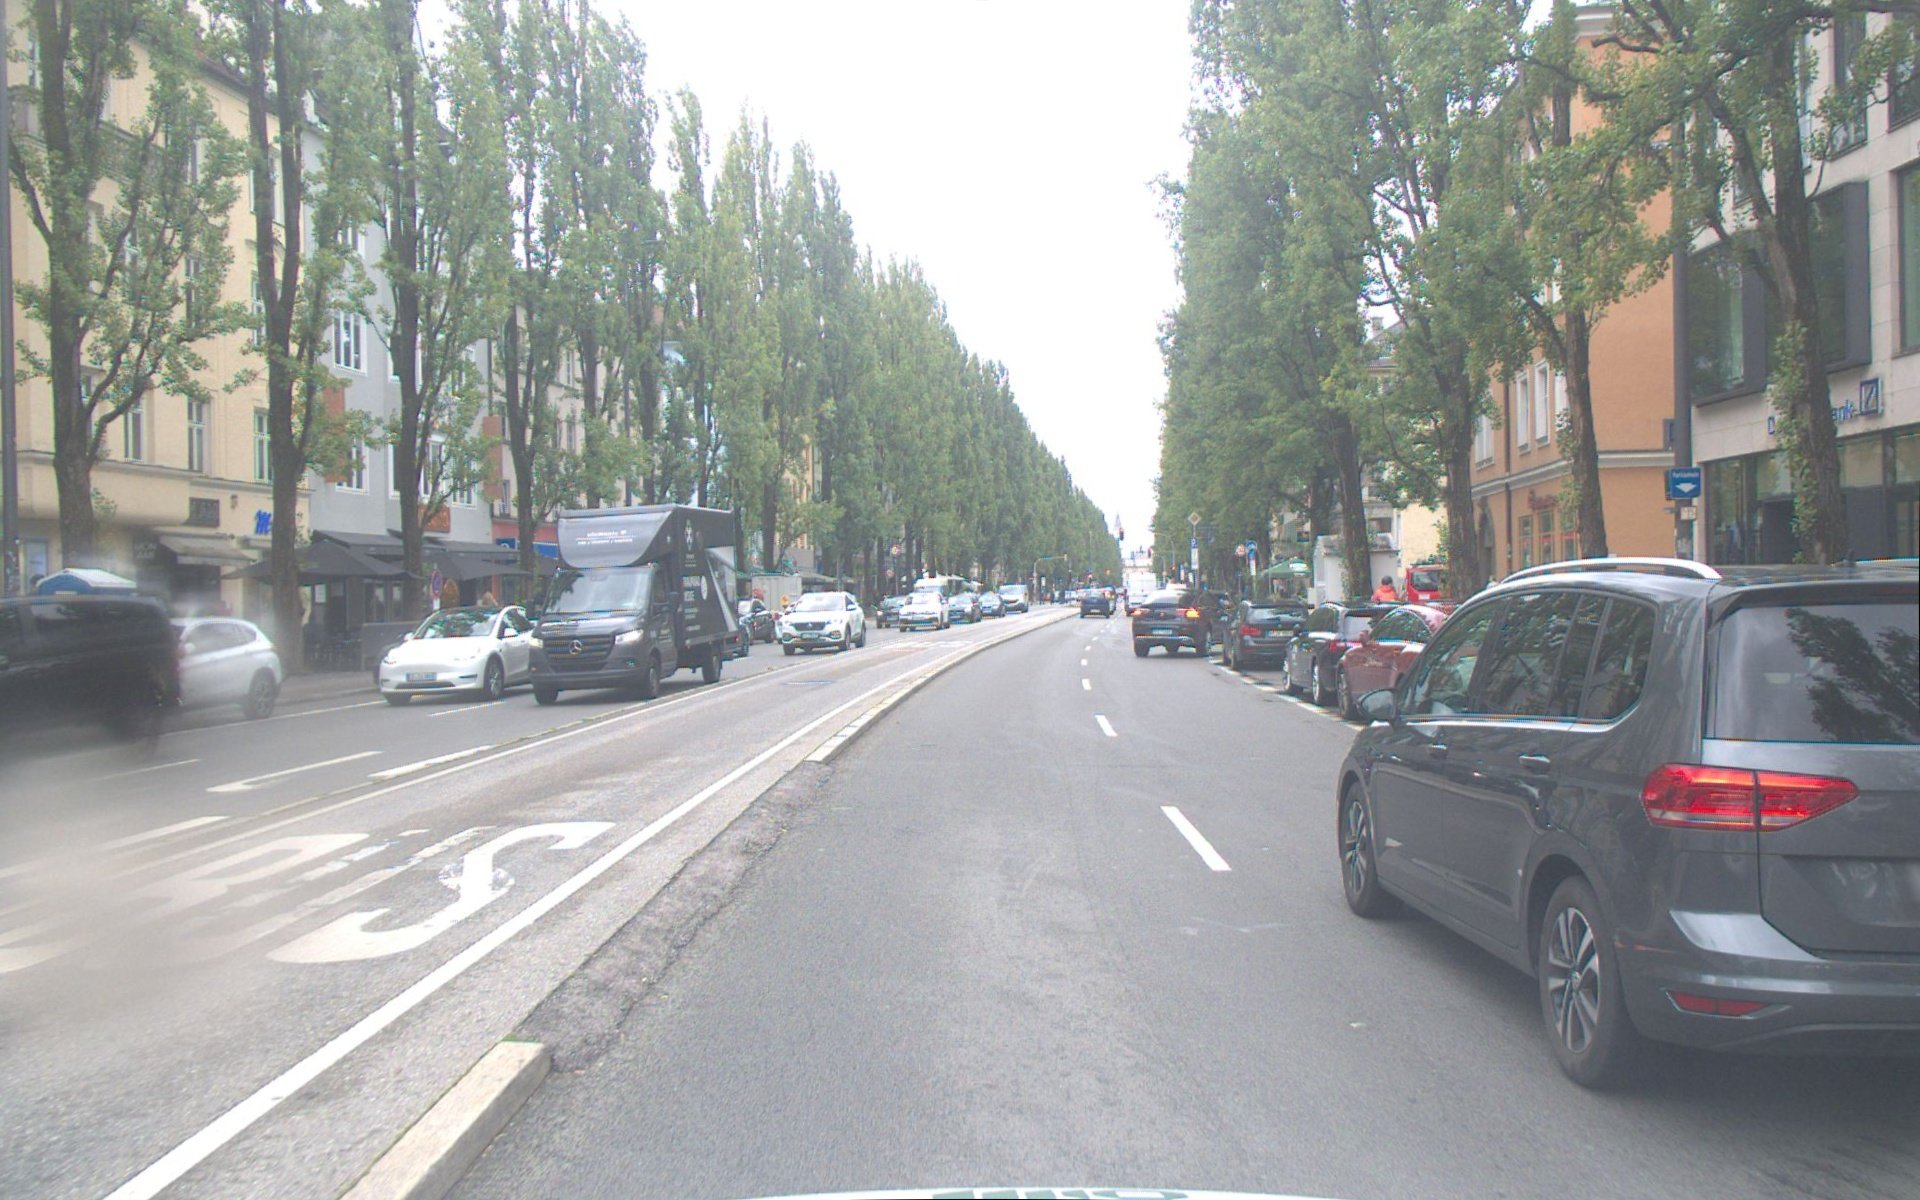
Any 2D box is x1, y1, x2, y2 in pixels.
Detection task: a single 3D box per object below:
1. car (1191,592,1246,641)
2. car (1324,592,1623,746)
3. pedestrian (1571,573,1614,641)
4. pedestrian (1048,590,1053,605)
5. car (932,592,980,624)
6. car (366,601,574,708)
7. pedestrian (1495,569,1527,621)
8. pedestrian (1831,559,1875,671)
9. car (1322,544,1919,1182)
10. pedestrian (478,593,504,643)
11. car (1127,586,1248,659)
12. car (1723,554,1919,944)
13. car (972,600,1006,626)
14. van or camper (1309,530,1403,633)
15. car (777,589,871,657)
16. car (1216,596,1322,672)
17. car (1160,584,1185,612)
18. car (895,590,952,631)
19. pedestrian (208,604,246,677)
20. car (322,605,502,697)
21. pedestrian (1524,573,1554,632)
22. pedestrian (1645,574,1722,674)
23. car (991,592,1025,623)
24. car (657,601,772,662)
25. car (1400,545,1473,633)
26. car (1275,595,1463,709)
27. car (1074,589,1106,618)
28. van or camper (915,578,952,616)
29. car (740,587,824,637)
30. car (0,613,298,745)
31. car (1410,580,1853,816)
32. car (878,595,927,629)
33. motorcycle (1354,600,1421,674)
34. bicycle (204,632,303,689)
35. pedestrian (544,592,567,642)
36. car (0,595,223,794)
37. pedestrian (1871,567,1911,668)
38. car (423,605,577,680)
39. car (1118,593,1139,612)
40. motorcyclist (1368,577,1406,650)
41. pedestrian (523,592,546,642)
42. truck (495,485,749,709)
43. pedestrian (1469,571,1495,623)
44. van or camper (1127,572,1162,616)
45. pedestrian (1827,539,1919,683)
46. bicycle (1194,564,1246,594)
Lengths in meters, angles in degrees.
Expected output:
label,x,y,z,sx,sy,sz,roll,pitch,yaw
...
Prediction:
label,x,y,z,sx,sy,sz,roll,pitch,yaw
car,8.996,0.555,57.774,1.589,1.592,4.374,-1,0,5
car,5.592,0.671,18.716,1.891,1.475,4.804,-2,0,0
pedestrian,15.249,0.169,39.875,0.596,1.578,0.710,-2,0,-22
pedestrian,10.134,-0.274,184.970,0.541,1.746,0.493,-2,0,7
car,-0.182,0.387,85.094,1.951,1.457,4.775,-2,0,6
car,-8.731,0.909,29.946,1.951,1.680,4.639,-2,0,6
pedestrian,17.757,-0.167,53.340,0.803,1.641,0.780,-2,0,9
pedestrian,13.419,0.223,24.858,0.540,1.666,0.557,-1,0,31
car,2.785,0.670,6.394,1.726,1.642,4.182,0,0,-2
pedestrian,-16.457,0.614,58.042,0.625,1.729,0.648,-1,0,6
car,5.805,0.531,41.786,1.843,1.670,4.581,-1,0,23
car,5.190,0.660,7.020,1.885,1.730,4.651,0,-1,2
car,1.693,0.736,97.045,1.675,1.438,3.725,-2,0,5
van or camper,12.969,-0.587,54.482,2.408,3.166,4.719,-2,0,7
car,-3.812,0.610,47.045,1.821,1.741,4.539,-2,0,6
car,6.477,0.672,35.057,1.697,1.418,4.435,-2,0,4
car,15.856,-0.161,123.417,1.766,2.027,4.002,0,-1,6
car,-1.534,0.428,71.456,1.898,1.671,4.466,-2,0,5
pedestrian,-18.064,0.991,40.762,0.527,1.777,0.756,-1,0,6
car,-10.942,0.972,33.355,1.823,1.658,4.171,-2,0,6
pedestrian,16.499,0.062,47.147,0.714,1.654,0.805,-2,0,16
pedestrian,12.029,0.388,27.536,0.817,1.604,0.938,-2,0,-2
car,3.380,0.524,116.273,1.951,1.967,4.921,-3,-1,6
car,-6.584,0.822,44.870,1.898,1.459,4.542,-2,0,7
car,13.997,-0.335,48.420,1.861,2.368,4.827,-2,0,18
car,5.803,0.676,23.979,1.808,1.453,4.427,-1,0,3
car,7.403,0.217,94.051,1.722,1.648,3.749,0,-1,6
van or camper,-1.788,-0.211,112.259,1.951,2.501,4.254,-1,0,6
car,-5.910,0.372,55.414,1.898,1.519,4.459,-2,0,5
car,-11.887,1.095,24.463,1.951,1.658,4.385,-2,0,8
car,5.157,0.646,13.493,1.773,1.526,4.807,-2,0,2
car,-2.822,0.611,81.677,1.809,1.592,4.215,-2,-1,6
motorcycle,8.591,0.723,33.320,0.809,1.394,2.253,-2,0,2
bicycle,-14.889,1.279,34.860,2.081,1.120,0.505,-2,0,19
pedestrian,-15.558,0.665,63.575,0.625,1.894,0.648,-1,0,6
car,-10.113,0.959,17.060,1.951,1.896,5.715,-3,0,5
pedestrian,14.130,0.261,25.095,0.493,1.517,0.546,-1,0,31
car,-10.523,0.940,38.204,1.898,1.519,4.299,-1,0,7
car,12.402,0.206,121.788,1.472,1.336,3.285,-1,0,6
motorcyclist,8.613,0.261,33.400,0.552,1.431,0.766,-2,0,2
pedestrian,-16.346,0.664,63.490,0.625,1.894,0.648,-1,0,6
truck,-5.711,-0.064,29.244,2.243,3.380,7.162,-2,0,6
pedestrian,16.936,-0.097,53.655,0.658,1.641,0.641,-2,0,9
van or camper,11.126,-0.322,100.059,1.991,2.519,4.002,-1,-1,6
pedestrian,12.497,0.144,22.571,0.800,1.902,0.939,-2,0,2
bicycle,18.215,-1.485,115.866,3.473,2.049,1.298,0,-1,15
